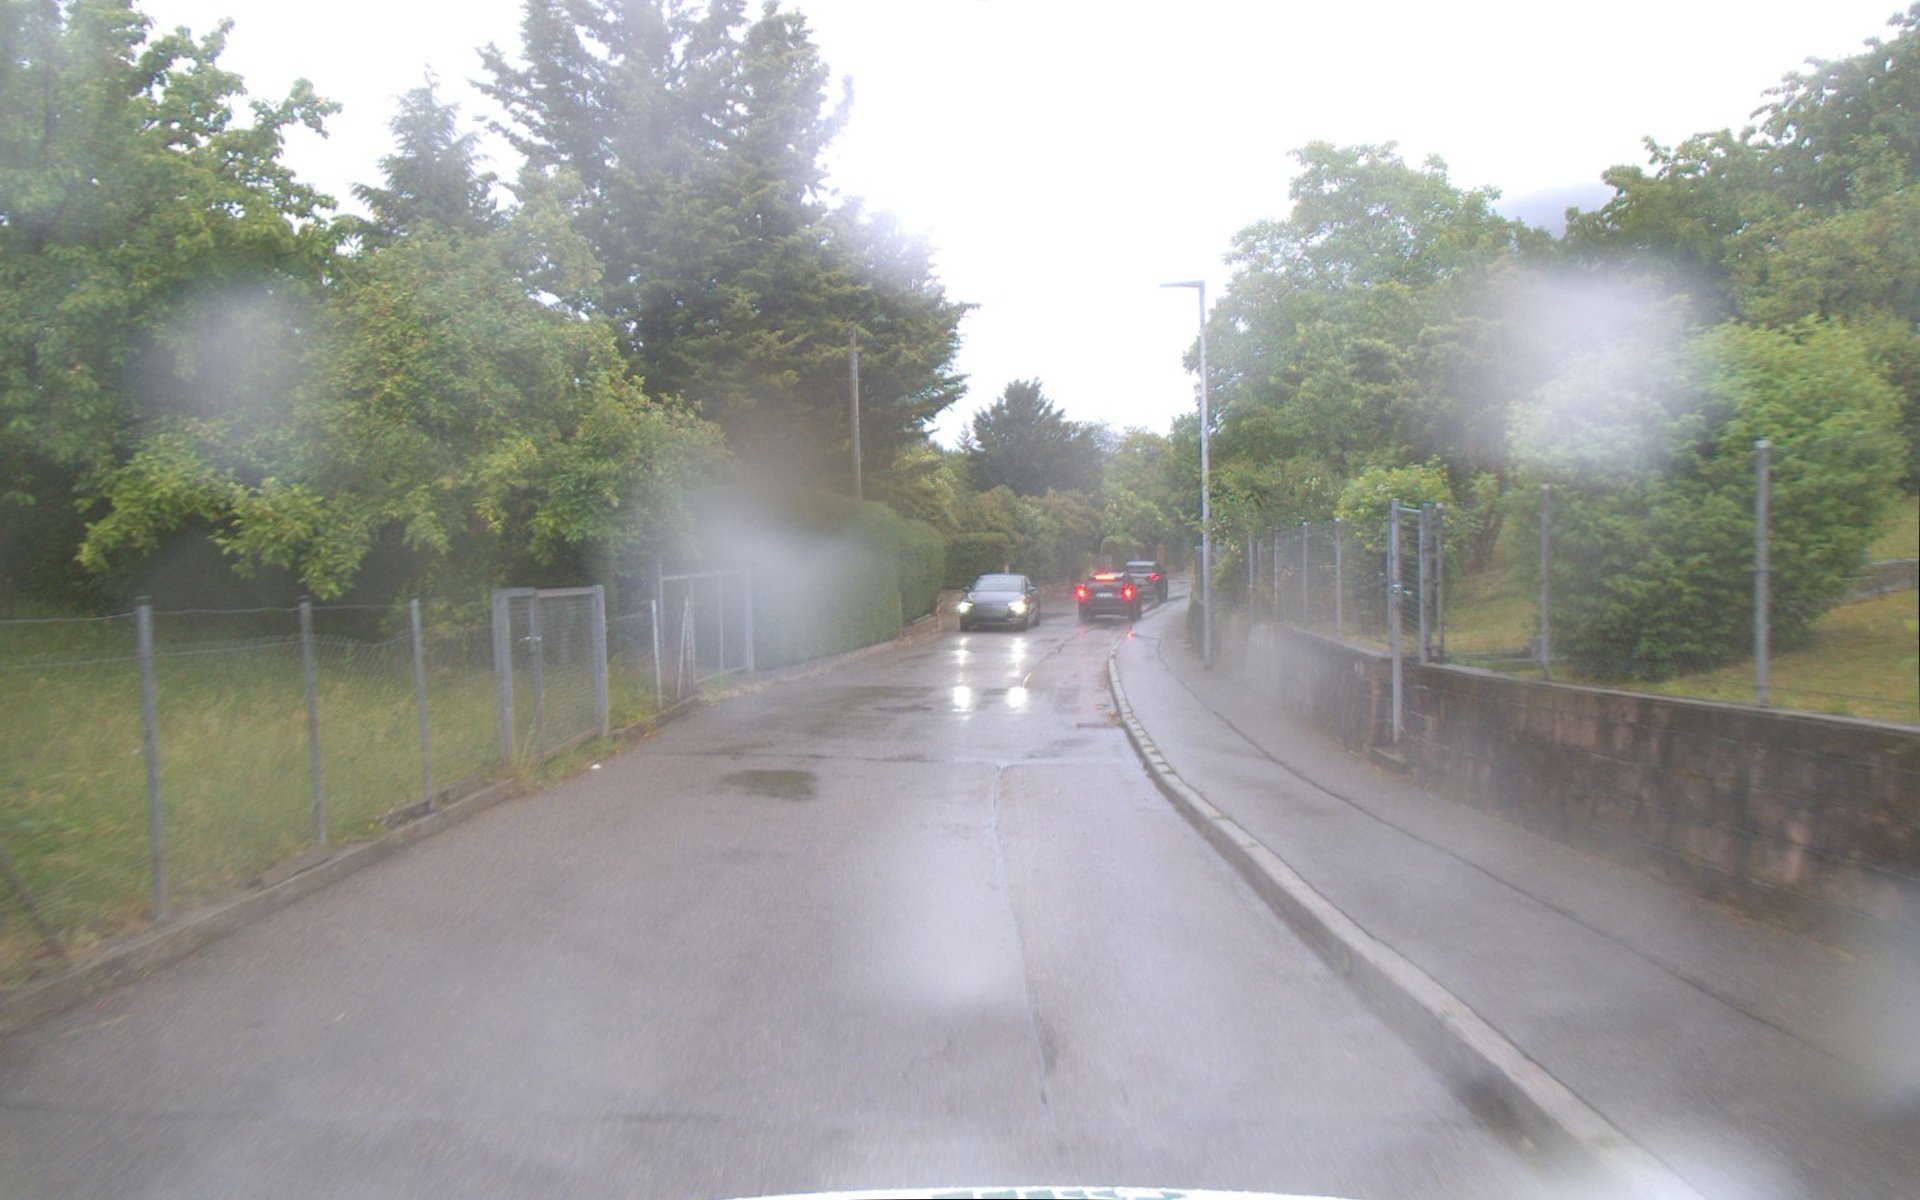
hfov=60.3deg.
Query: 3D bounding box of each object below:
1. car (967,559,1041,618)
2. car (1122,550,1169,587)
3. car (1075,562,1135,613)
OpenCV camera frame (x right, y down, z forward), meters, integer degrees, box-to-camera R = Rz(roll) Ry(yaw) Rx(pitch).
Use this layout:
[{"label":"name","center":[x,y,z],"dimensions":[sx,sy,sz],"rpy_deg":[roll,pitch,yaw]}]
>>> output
[{"label":"car","center":[1.282,-0.368,46.558],"dimensions":[1.849,1.549,4.425],"rpy_deg":[1,2,4]},{"label":"car","center":[7.609,-1.304,67.797],"dimensions":[1.600,1.438,3.548],"rpy_deg":[1,1,11]},{"label":"car","center":[4.513,-0.413,51.170],"dimensions":[1.600,1.475,3.548],"rpy_deg":[1,1,9]}]
